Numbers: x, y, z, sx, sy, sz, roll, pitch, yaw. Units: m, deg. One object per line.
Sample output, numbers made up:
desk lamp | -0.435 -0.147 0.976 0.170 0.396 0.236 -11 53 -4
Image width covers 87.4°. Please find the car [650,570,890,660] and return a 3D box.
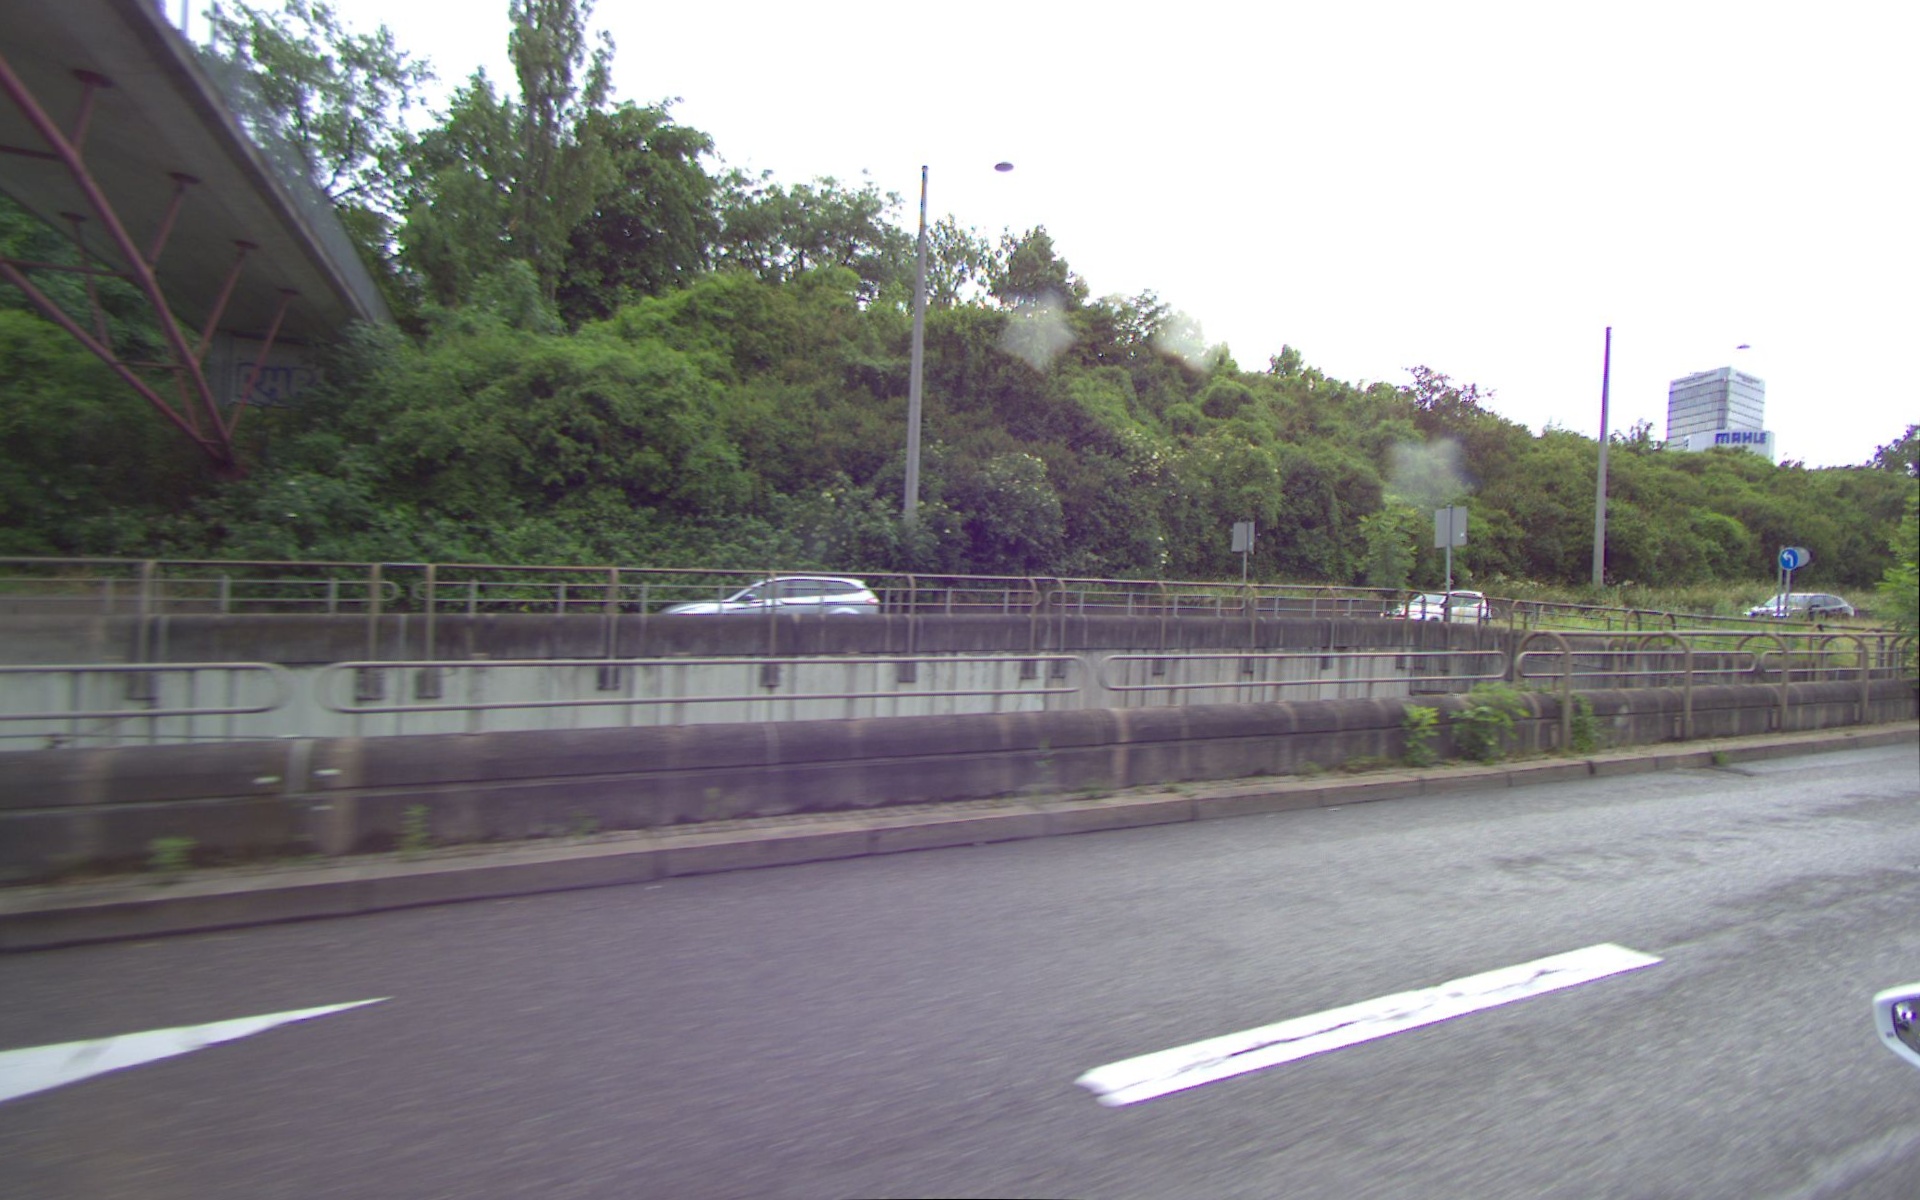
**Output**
car | -4.014 0.355 21.407 4.647 1.744 1.985 1 -2 -29

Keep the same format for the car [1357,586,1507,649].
car | 14.959 0.569 31.795 4.574 1.859 1.985 2 0 -29

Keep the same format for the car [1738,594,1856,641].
car | 33.433 0.709 40.116 4.664 1.659 1.985 2 3 -29
